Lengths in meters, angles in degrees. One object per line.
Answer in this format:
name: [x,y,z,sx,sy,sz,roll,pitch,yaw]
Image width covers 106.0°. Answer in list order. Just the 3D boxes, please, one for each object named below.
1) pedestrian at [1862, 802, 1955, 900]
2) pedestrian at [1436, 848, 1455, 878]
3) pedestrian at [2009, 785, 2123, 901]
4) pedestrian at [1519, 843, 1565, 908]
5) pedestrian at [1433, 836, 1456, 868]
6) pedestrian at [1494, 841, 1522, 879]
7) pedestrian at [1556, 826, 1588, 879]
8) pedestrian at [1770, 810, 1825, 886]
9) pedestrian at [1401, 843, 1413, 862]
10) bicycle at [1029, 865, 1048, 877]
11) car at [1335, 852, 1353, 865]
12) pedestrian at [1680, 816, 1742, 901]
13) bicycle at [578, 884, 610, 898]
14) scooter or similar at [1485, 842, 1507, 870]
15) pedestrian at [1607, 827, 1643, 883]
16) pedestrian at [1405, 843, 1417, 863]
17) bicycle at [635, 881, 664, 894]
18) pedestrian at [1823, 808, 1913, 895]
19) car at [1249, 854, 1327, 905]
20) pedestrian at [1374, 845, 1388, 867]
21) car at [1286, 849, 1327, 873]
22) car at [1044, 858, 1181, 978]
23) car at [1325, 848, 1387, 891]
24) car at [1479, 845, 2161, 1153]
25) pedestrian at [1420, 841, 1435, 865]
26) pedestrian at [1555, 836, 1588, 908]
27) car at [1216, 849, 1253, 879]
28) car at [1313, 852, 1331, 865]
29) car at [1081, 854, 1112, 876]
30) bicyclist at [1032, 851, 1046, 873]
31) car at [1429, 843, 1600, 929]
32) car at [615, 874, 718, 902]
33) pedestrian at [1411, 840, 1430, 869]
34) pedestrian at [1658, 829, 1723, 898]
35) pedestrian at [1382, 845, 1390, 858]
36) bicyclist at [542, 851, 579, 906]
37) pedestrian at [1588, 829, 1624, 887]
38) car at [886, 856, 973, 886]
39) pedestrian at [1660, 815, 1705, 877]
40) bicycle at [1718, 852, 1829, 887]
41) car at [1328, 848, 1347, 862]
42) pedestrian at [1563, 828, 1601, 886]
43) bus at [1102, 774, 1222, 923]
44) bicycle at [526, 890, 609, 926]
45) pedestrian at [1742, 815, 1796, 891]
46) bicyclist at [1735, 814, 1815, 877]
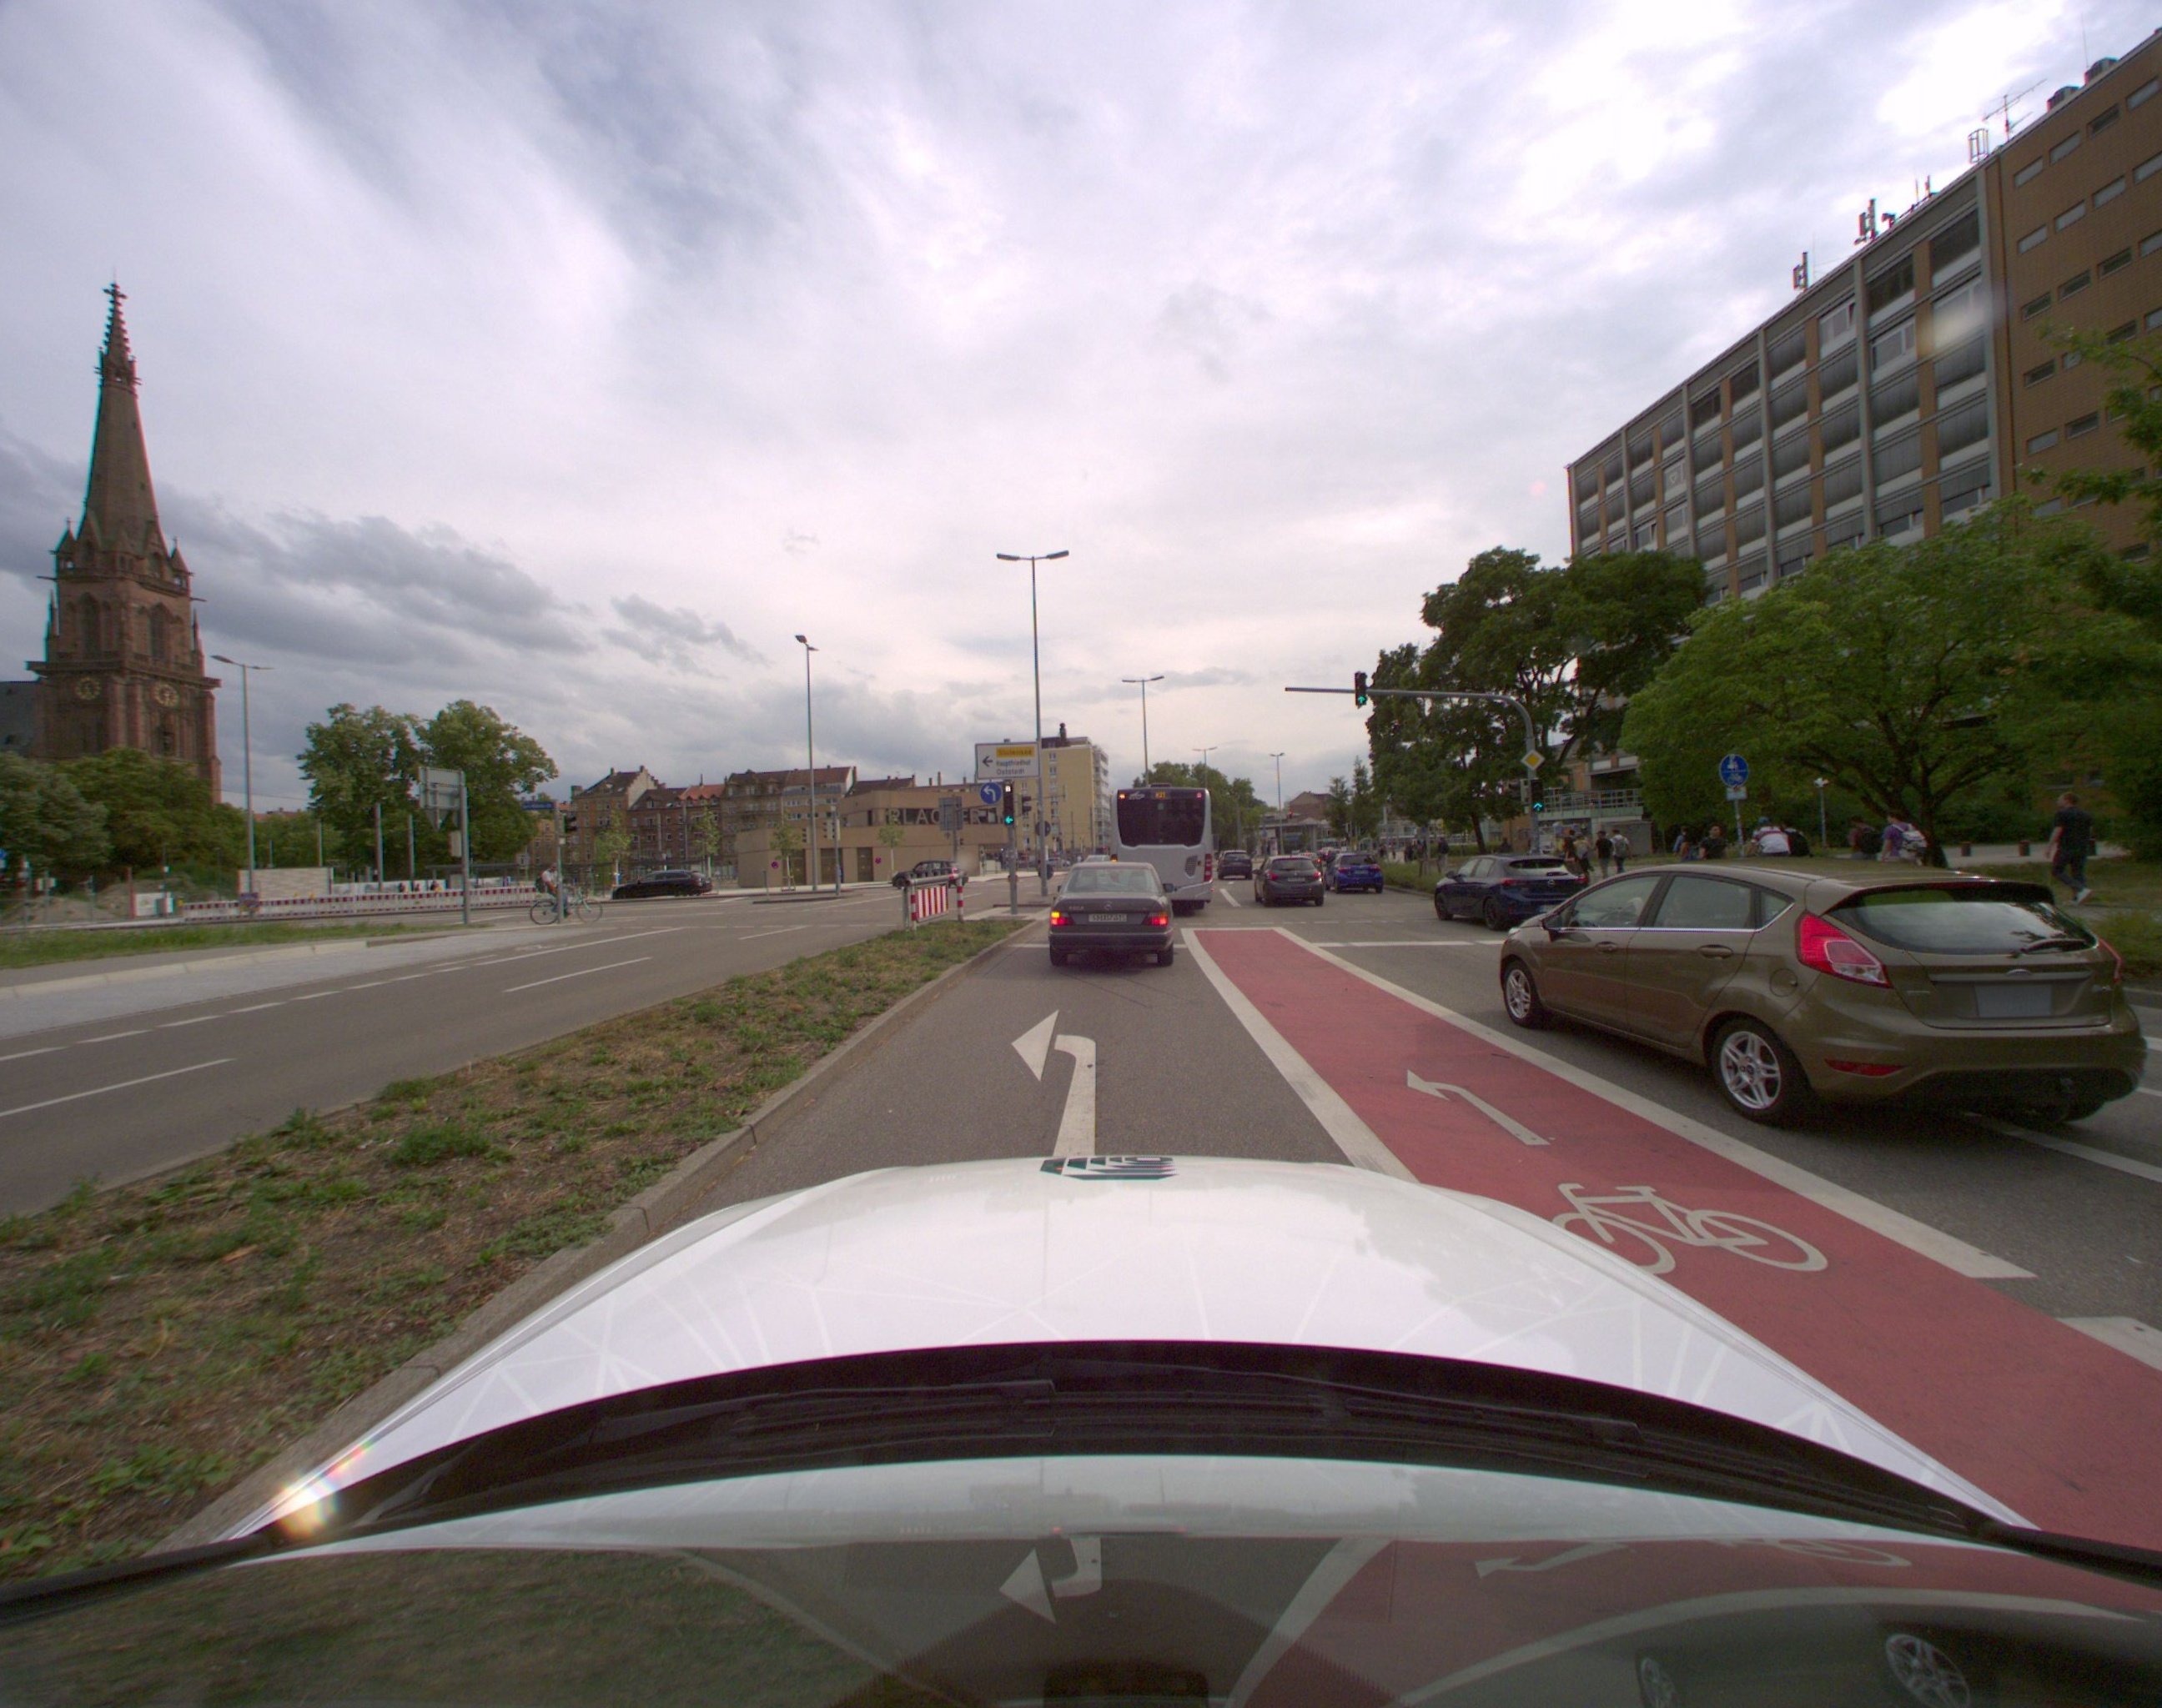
pedestrian: [14.881,-0.049,14.664,0.833,1.711,0.801,0,-1,4]
pedestrian: [20.977,0.517,46.889,0.774,1.711,0.813,0,-1,4]
pedestrian: [15.928,-0.169,13.194,0.833,1.808,0.801,0,-1,4]
pedestrian: [12.307,0.570,21.767,0.793,1.711,0.841,-1,-1,6]
pedestrian: [19.571,-0.110,43.870,0.774,1.711,1.029,0,-1,4]
pedestrian: [18.708,0.260,35.693,0.774,1.574,0.813,-4,-1,4]
pedestrian: [17.421,-0.052,28.904,0.635,1.852,0.709,-3,-1,4]
pedestrian: [16.464,-0.133,18.728,0.635,1.711,0.709,0,-1,4]
pedestrian: [27.026,-0.137,67.491,0.770,1.574,0.817,-4,-1,27]
bicycle: [-3.183,1.261,61.794,0.857,0.876,2.526,-1,-1,11]
car: [29.908,0.471,92.657,1.689,1.420,3.719,-1,-1,21]
pedestrian: [13.023,0.095,16.848,0.729,1.711,0.694,0,-1,4]
bicycle: [-36.177,2.718,60.498,1.976,0.955,0.577,0,-1,-40]
scooter or similar: [20.712,0.103,40.667,0.397,1.370,1.144,0,-1,-9]
pedestrian: [17.128,0.041,25.663,0.635,1.711,0.709,-2,-1,4]
pedestrian: [26.646,-0.095,65.783,0.770,1.574,0.817,-4,-1,27]
bicycle: [-33.901,2.610,64.006,1.976,0.970,0.577,0,-1,-40]
pedestrian: [15.905,-0.040,16.490,0.833,1.711,1.014,0,-1,4]
car: [6.130,0.721,24.497,1.702,1.420,4.006,0,-1,6]
pedestrian: [22.115,0.114,60.091,0.770,1.574,0.817,-4,-1,27]
car: [14.118,0.454,50.799,2.114,1.420,3.719,-1,-1,21]
car: [0.438,0.815,12.366,1.689,1.480,4.417,0,-1,1]
car: [10.390,0.585,31.005,1.845,1.533,4.016,-1,-1,13]
car: [4.454,0.682,5.598,1.689,1.405,3.700,0,-1,1]
pedestrian: [23.439,-0.042,55.088,0.770,1.574,0.817,-4,-1,27]
pedestrian: [11.885,0.441,19.747,0.477,1.711,0.589,-1,-1,6]
car: [8.727,0.568,46.476,1.824,1.615,3.553,-1,-1,7]
car: [28.173,0.557,95.190,1.696,1.420,4.021,-1,-1,21]
car: [1.273,0.851,65.026,1.983,1.651,4.298,-1,-1,7]
bicyclist: [-3.185,0.606,61.677,0.861,1.669,0.883,-1,-1,10]
car: [8.447,0.583,16.239,1.659,1.508,3.638,0,-1,4]
car: [-21.319,1.738,41.994,4.247,1.361,1.999,0,-1,-1]
pedestrian: [20.381,0.031,48.873,0.774,1.711,1.029,0,-1,4]
pedestrian: [14.463,0.223,19.342,0.833,1.543,0.801,-5,-1,4]
pedestrian: [36.679,-0.324,97.888,0.770,1.574,0.817,-4,-1,27]
bicyclist: [-14.970,0.710,23.420,0.572,1.555,0.802,-4,-3,44]
pedestrian: [15.925,0.127,24.727,0.635,1.711,0.709,0,-1,4]
car: [-7.838,0.884,42.057,3.951,1.486,2.011,-1,-1,23]
pedestrian: [17.060,-0.220,23.119,0.635,1.711,0.709,-4,-1,4]
bicycle: [14.402,0.309,17.015,0.837,0.694,1.847,0,-1,4]
car: [27.078,0.144,85.804,1.689,1.420,3.719,-1,-1,21]
pedestrian: [15.219,0.101,24.757,0.635,1.711,0.709,-3,-1,4]
bus: [2.801,-0.091,26.718,2.690,3.438,14.210,-3,-1,7]
bicycle: [-14.799,1.536,23.514,0.499,0.936,1.983,-4,-3,44]
pedestrian: [15.751,-0.018,18.669,0.635,1.711,0.709,0,-1,4]
bicyclist: [14.405,-0.167,16.934,0.833,1.277,1.014,0,-1,4]
